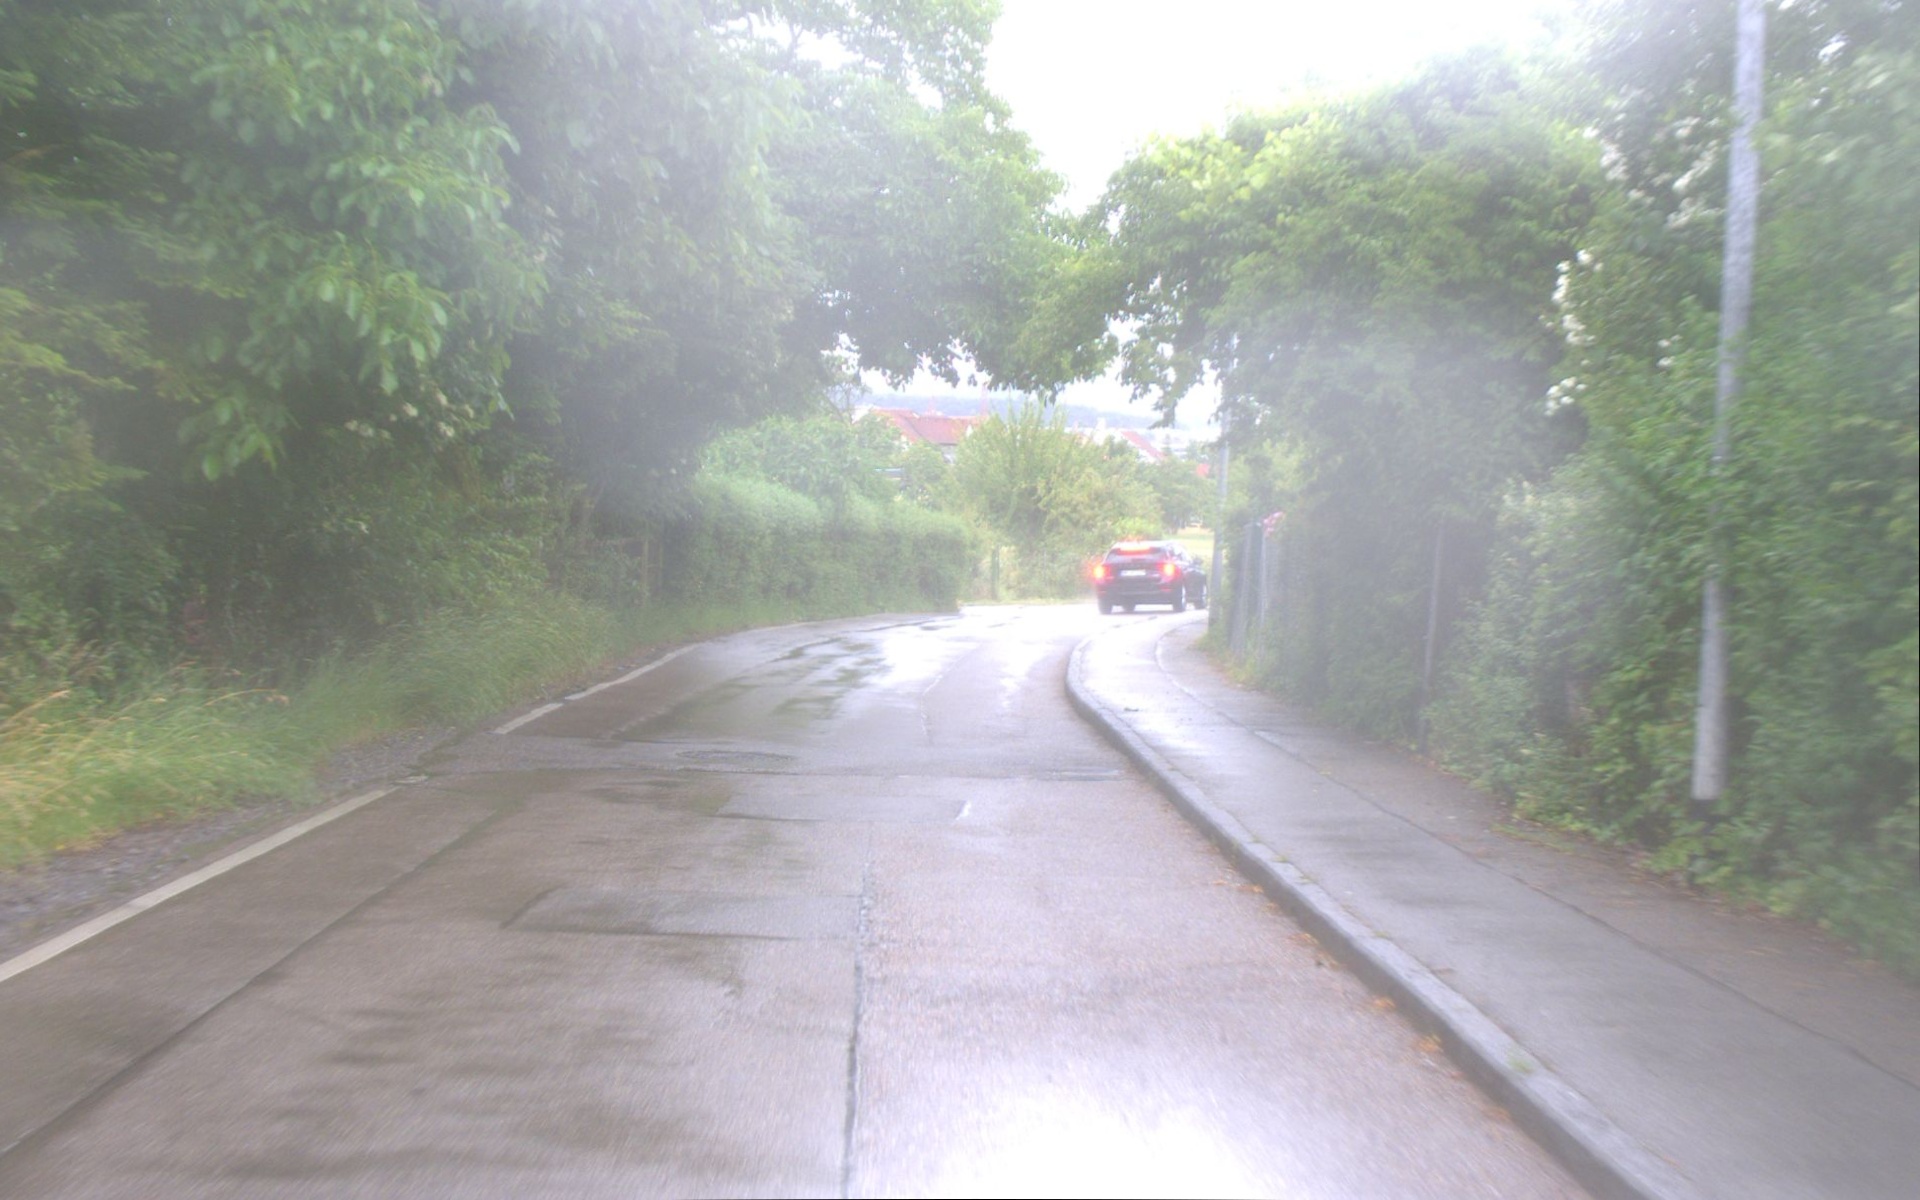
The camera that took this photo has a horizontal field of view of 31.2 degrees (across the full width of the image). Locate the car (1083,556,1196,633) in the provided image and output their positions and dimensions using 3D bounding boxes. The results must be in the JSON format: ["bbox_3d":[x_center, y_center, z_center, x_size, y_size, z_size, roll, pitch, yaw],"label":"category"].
[{"bbox_3d":[3.715,-0.092,70.516,1.636,1.445,3.542,3,0,14],"label":"car"}]
